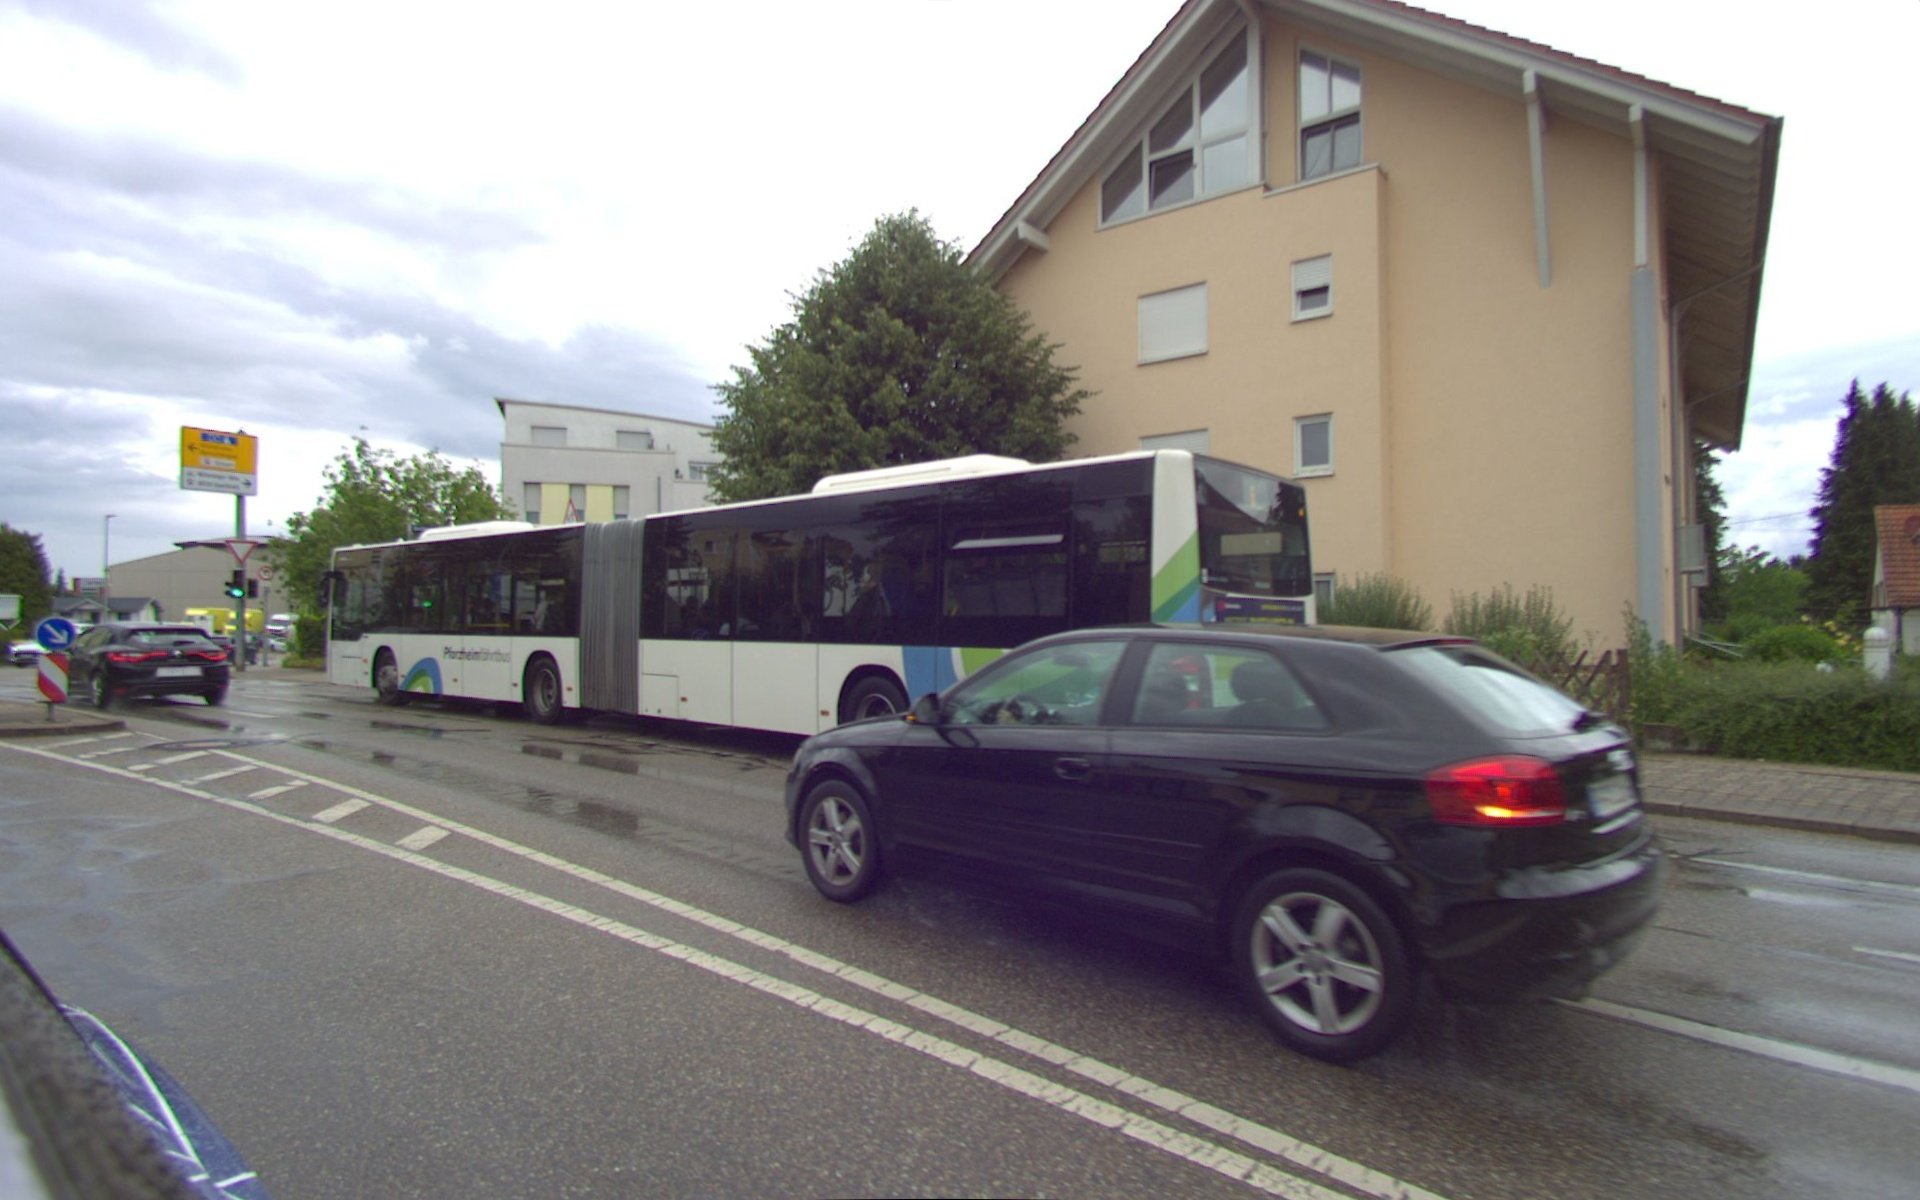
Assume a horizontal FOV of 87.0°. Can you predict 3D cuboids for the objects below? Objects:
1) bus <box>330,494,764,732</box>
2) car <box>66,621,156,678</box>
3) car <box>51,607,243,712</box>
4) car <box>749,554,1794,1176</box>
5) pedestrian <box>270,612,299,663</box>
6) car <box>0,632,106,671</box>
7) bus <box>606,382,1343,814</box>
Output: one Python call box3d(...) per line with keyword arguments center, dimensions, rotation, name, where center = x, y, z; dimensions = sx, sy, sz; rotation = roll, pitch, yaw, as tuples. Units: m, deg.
box3d(center=(-7.244, 0.296, 16.780), dimensions=(9.194, 3.023, 2.521), rotation=(-1, -3, 39), name="bus")
box3d(center=(-29.136, 1.652, 34.868), dimensions=(1.922, 1.738, 4.612), rotation=(-1, 0, -35), name="car")
box3d(center=(-14.402, 0.959, 17.854), dimensions=(4.173, 1.530, 1.930), rotation=(1, 0, 41), name="car")
box3d(center=(0.972, 0.706, 4.709), dimensions=(1.838, 1.530, 4.296), rotation=(2, -2, -43), name="car")
box3d(center=(-27.149, 1.511, 40.683), dimensions=(0.835, 2.029, 0.804), rotation=(0, -2, -25), name="pedestrian")
box3d(center=(-41.423, 2.322, 46.162), dimensions=(1.968, 1.652, 4.008), rotation=(0, -1, -10), name="car")
box3d(center=(-0.538, 0.115, 10.902), dimensions=(8.406, 3.023, 2.557), rotation=(-2, -3, 43), name="bus")
